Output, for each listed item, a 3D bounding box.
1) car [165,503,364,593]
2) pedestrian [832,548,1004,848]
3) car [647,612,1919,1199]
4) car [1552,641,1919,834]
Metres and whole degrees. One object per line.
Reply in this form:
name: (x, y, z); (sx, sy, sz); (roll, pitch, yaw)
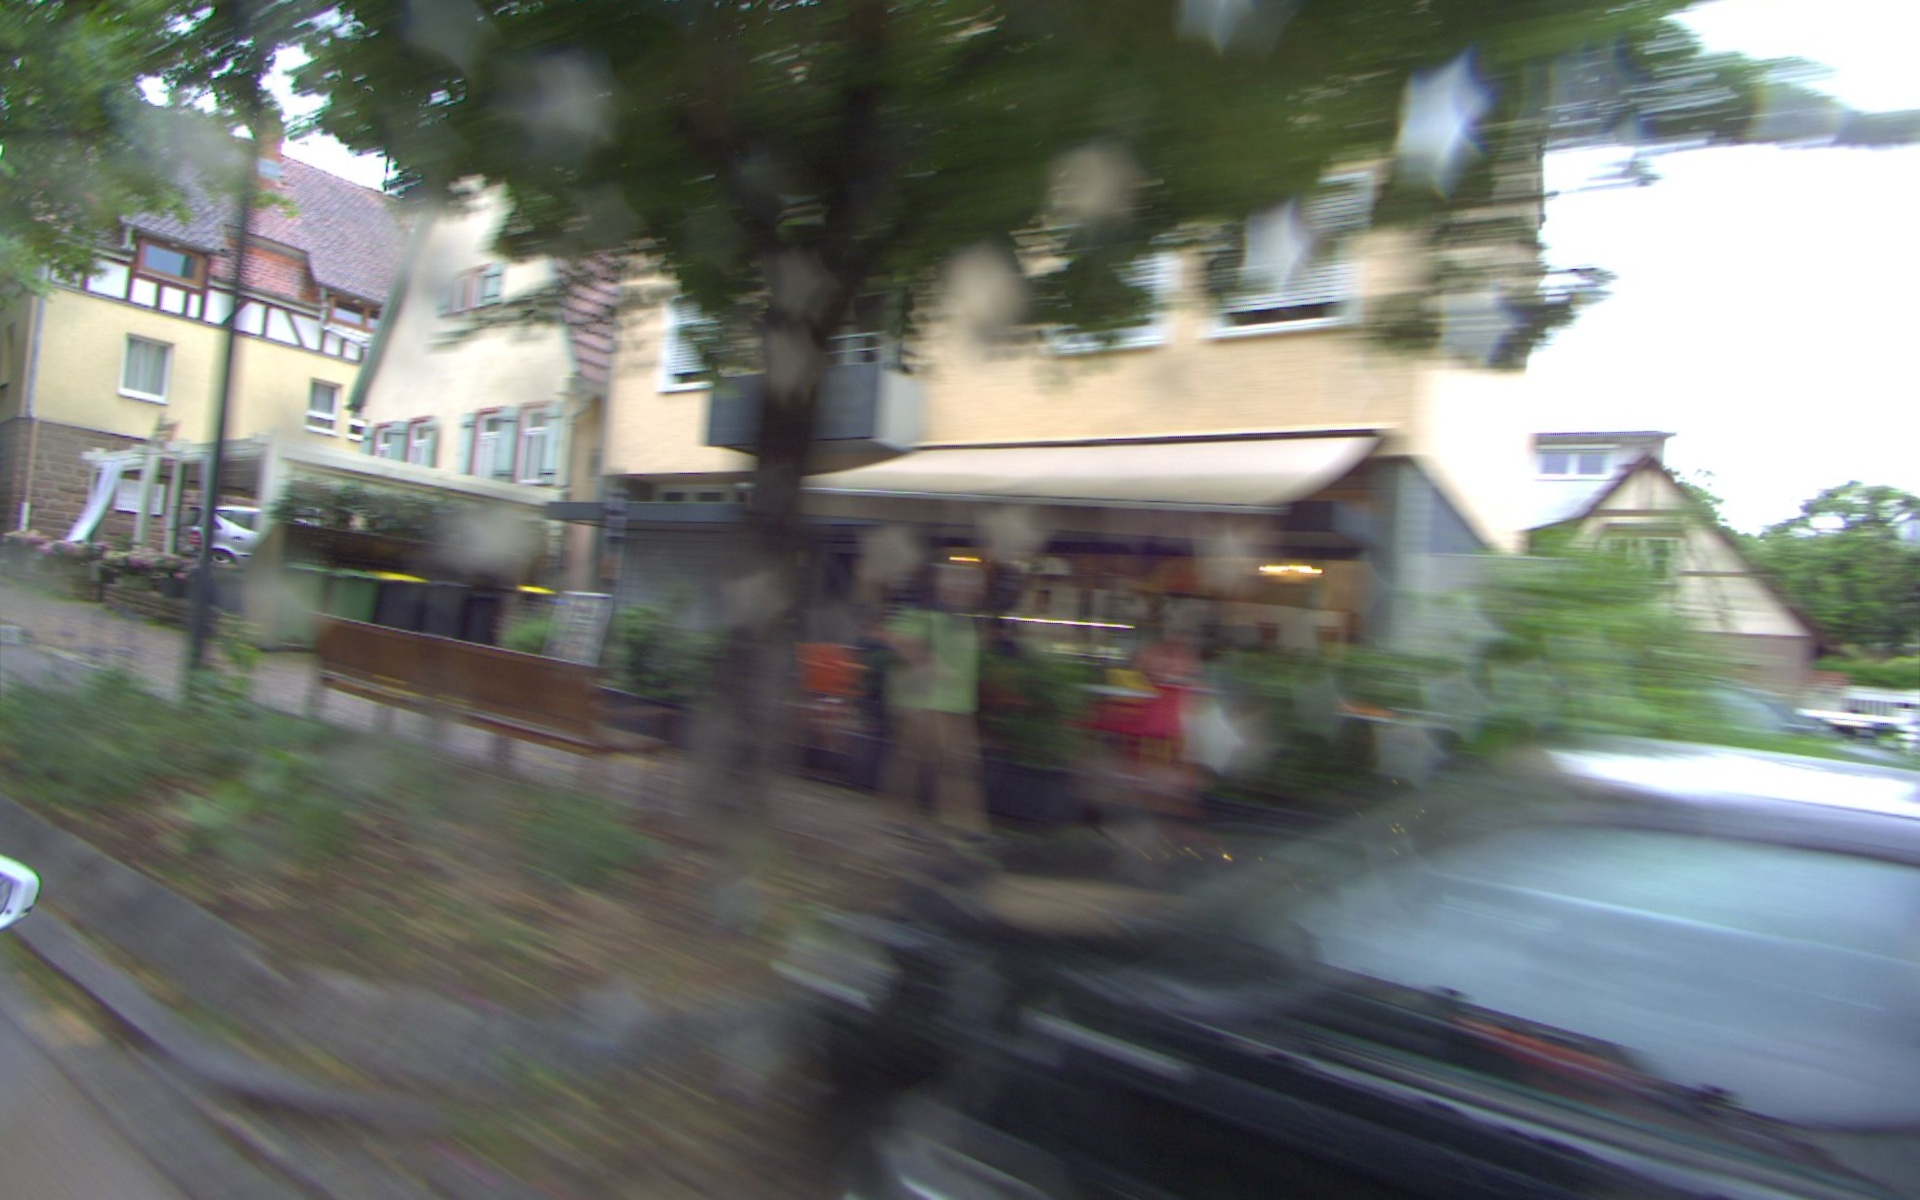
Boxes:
car: (-15.573, -1.138, 22.620); (1.637, 1.615, 3.281); (6, 0, 39)
pedestrian: (-0.265, 0.600, 6.245); (0.760, 1.753, 0.489); (6, 1, -29)
car: (1.402, 1.009, 2.078); (3.720, 1.427, 1.812); (7, -1, 31)
car: (10.209, 1.692, 12.859); (4.270, 1.700, 1.891); (8, 1, 35)
